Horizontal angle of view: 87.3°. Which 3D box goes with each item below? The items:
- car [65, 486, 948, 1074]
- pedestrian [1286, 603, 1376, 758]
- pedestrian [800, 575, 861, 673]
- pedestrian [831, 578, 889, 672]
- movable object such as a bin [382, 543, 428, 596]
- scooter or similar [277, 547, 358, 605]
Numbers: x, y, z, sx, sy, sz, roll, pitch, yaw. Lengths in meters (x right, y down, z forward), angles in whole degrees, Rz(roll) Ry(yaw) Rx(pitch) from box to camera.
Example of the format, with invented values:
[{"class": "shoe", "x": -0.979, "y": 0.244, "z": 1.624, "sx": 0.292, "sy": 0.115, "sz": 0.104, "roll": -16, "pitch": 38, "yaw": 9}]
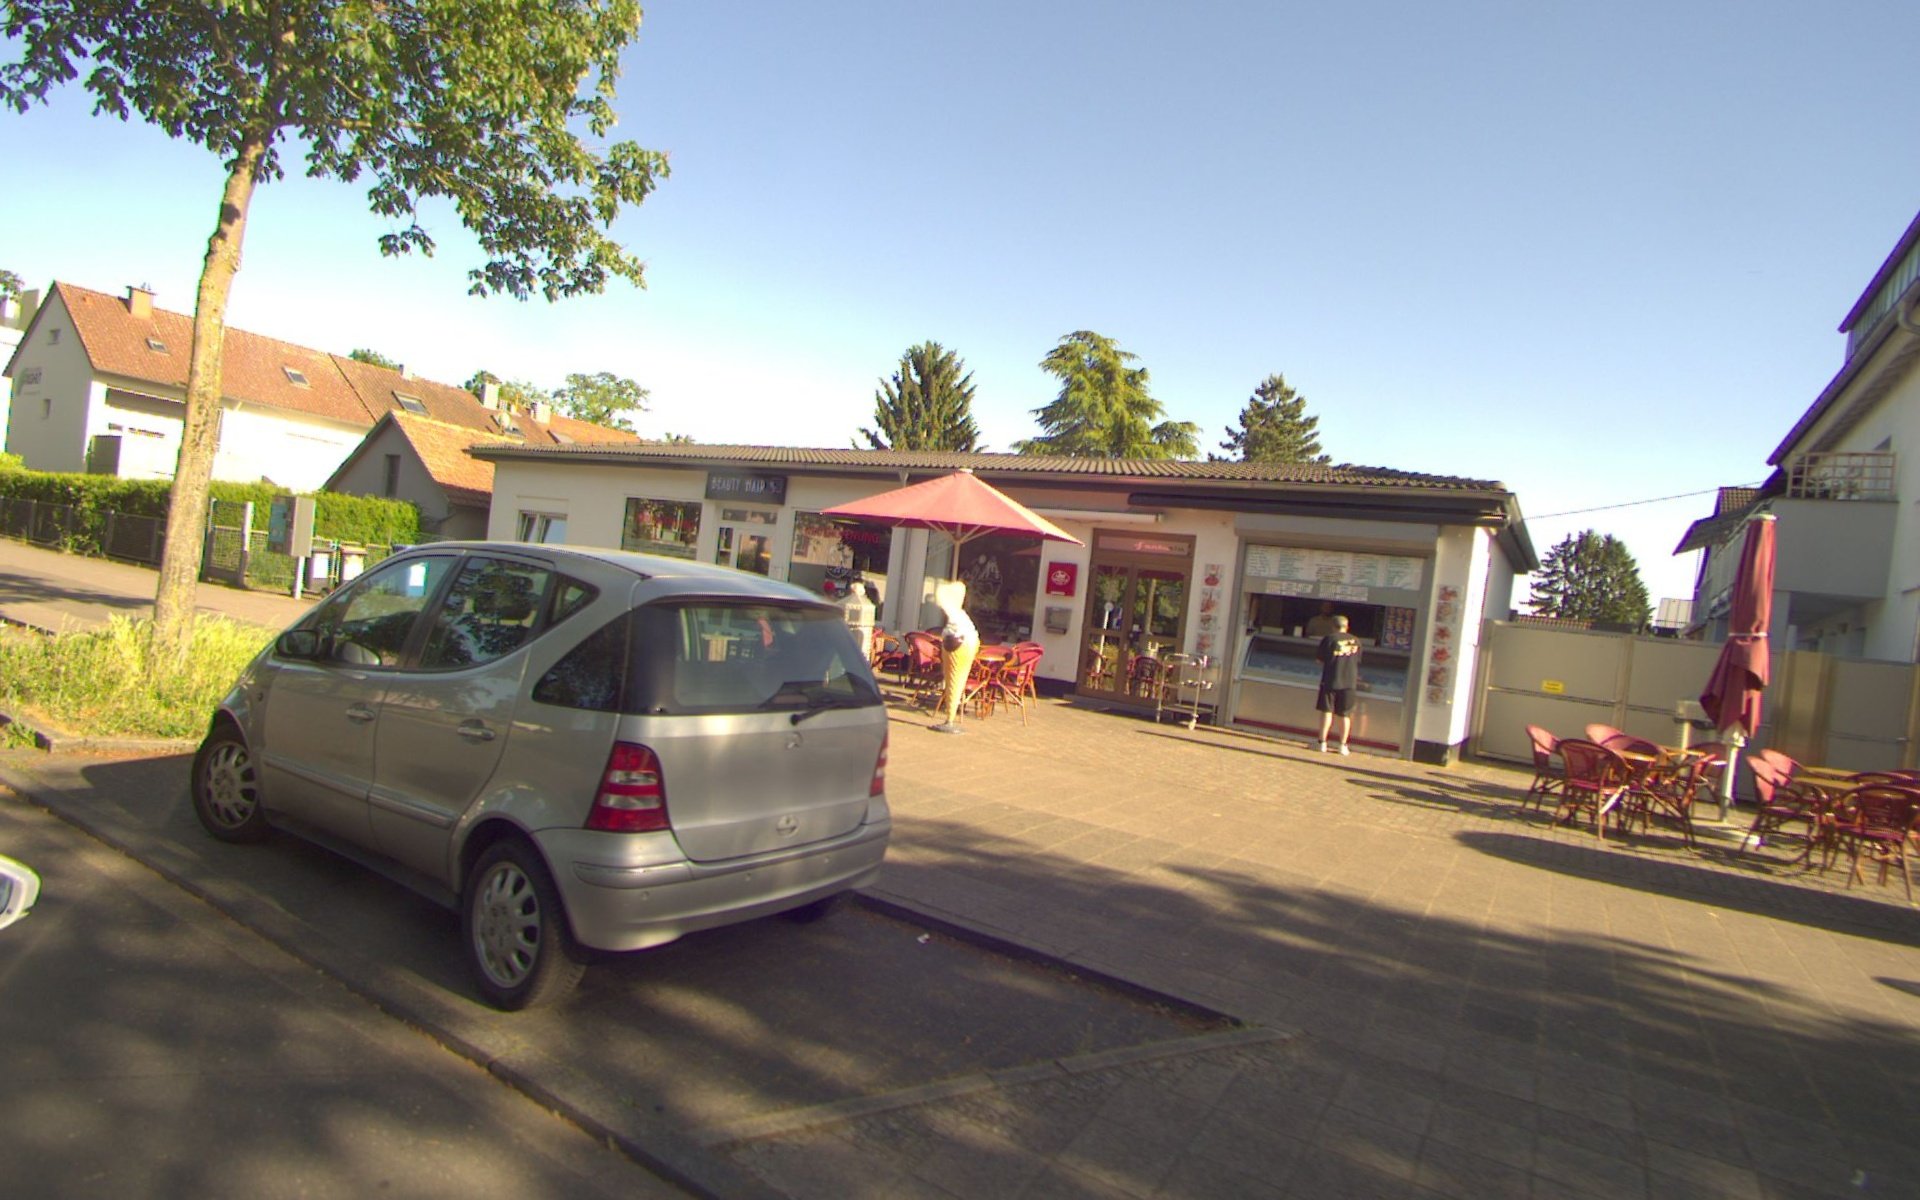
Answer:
[{"class": "car", "x": -2.389, "y": 0.510, "z": 4.873, "sx": 4.309, "sy": 1.639, "sz": 1.614, "roll": 6, "pitch": -3, "yaw": 32}, {"class": "pedestrian", "x": 4.691, "y": 1.004, "z": 12.746, "sx": 0.824, "sy": 1.800, "sz": 0.824, "roll": 7, "pitch": 0, "yaw": 20}, {"class": "pedestrian", "x": -1.971, "y": 0.365, "z": 15.308, "sx": 0.629, "sy": 1.401, "sz": 0.439, "roll": 7, "pitch": -1, "yaw": 37}, {"class": "pedestrian", "x": -1.608, "y": 0.401, "z": 16.140, "sx": 0.656, "sy": 1.427, "sz": 0.489, "roll": 5, "pitch": 2, "yaw": -30}, {"class": "movable object such as a bin", "x": -11.854, "y": -0.649, "z": 21.486, "sx": 0.734, "sy": 1.046, "sz": 0.493, "roll": 7, "pitch": 3, "yaw": 31}, {"class": "scooter or similar", "x": -11.579, "y": -0.427, "z": 18.133, "sx": 1.385, "sy": 0.868, "sz": 0.369, "roll": 7, "pitch": 0, "yaw": 18}]
